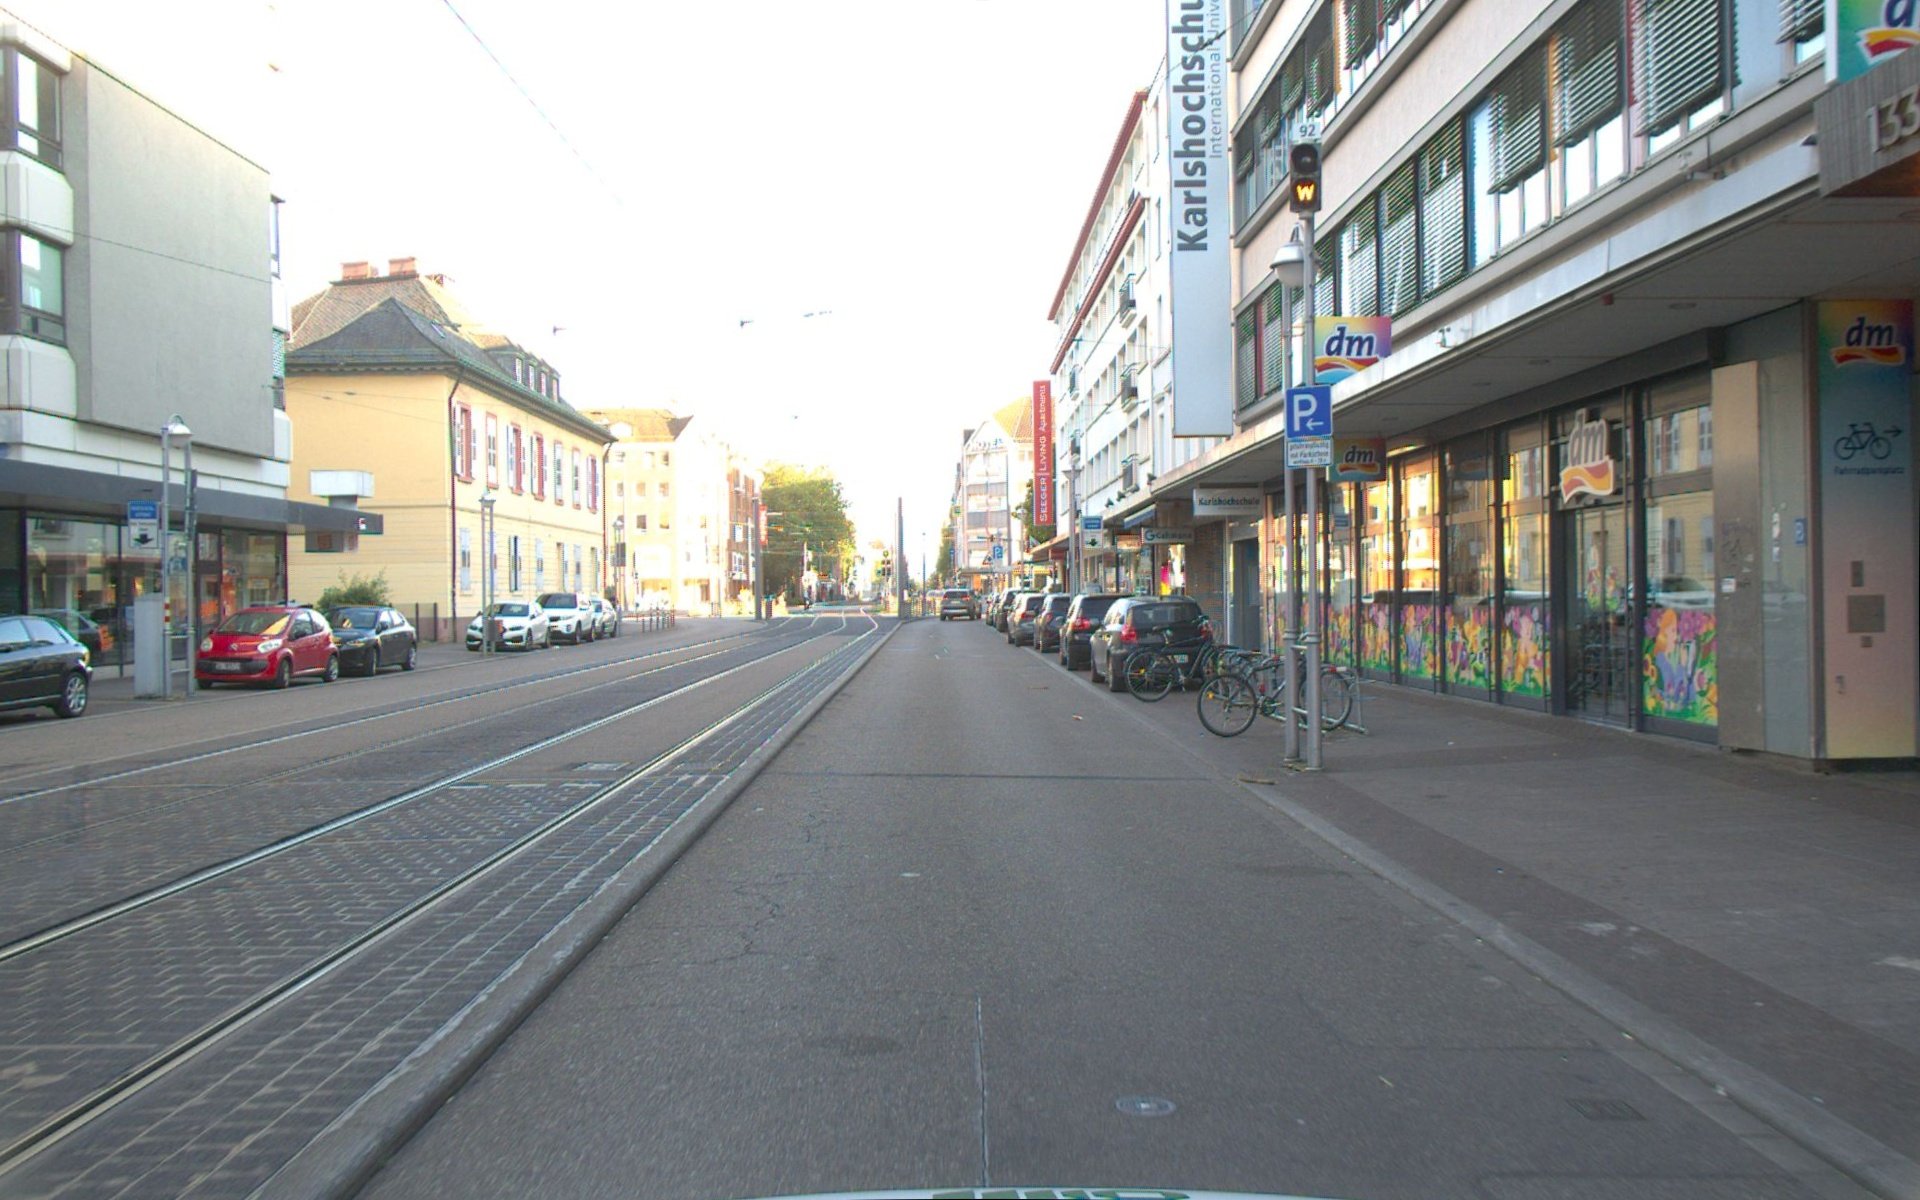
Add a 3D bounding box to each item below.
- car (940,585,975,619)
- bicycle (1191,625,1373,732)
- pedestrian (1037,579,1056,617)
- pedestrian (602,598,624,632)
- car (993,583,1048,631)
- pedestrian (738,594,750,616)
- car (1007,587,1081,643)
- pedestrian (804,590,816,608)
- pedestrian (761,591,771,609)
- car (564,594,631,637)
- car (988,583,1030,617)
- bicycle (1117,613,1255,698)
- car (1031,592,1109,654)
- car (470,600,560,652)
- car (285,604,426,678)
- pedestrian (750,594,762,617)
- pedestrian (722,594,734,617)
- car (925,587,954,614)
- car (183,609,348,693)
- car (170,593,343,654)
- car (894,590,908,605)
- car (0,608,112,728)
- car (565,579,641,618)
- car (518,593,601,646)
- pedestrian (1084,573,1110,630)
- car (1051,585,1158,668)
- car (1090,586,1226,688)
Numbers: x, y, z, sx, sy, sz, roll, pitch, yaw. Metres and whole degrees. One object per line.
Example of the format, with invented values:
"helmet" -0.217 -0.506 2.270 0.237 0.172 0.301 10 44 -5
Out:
"car" -0.114 0.142 89.305 1.797 1.665 4.090 -2 -1 0
"bicycle" 3.379 0.814 17.415 1.759 0.989 0.575 -3 0 -4
"pedestrian" 3.651 -0.091 69.989 0.718 1.601 0.966 -1 0 -2
"pedestrian" -16.335 0.697 77.837 0.783 1.569 0.877 1 0 1
"car" 2.300 0.270 63.716 1.818 1.730 4.416 1 0 -1
"pedestrian" -13.501 0.299 103.323 0.650 1.399 0.651 0 0 -4
"car" 2.420 0.431 48.735 1.755 1.560 4.855 1 0 -2
"pedestrian" -11.362 -0.075 125.168 0.885 1.399 0.853 -1 0 -4
"pedestrian" -22.817 -0.020 194.304 1.071 2.049 1.162 1 0 -4
"car" -13.574 0.561 62.112 1.713 1.500 3.999 1 1 -1
"car" 2.088 0.008 71.817 1.617 1.445 4.190 1 0 -1
"bicycle" 3.157 0.765 23.210 1.803 1.129 0.641 -1 0 -4
"car" 2.832 0.579 43.176 1.691 1.507 3.999 1 0 -1
"car" -13.505 0.752 50.410 1.686 1.478 4.282 1 0 -2
"car" -13.156 0.863 36.223 1.657 1.450 3.964 1 0 -1
"pedestrian" -12.775 0.332 103.577 0.650 1.399 0.651 -1 0 -4
"pedestrian" -14.452 0.342 103.156 0.650 1.399 0.651 -1 0 -4
"car" -1.462 0.062 118.643 1.954 1.623 3.999 -5 -2 -1
"car" -13.101 0.919 31.424 1.657 1.459 3.591 0 0 -1
"car" -19.351 0.638 45.632 3.907 1.580 1.913 1 0 -3
"car" -8.452 -0.354 235.702 1.915 2.049 3.999 1 0 -1
"car" -13.037 0.889 21.633 1.753 1.486 4.091 -1 0 0
"car" -19.496 -0.084 90.290 3.924 2.049 1.990 -1 0 -18
"car" -13.541 0.626 56.109 1.849 1.690 4.758 1 0 -3
"pedestrian" 4.722 0.048 56.971 0.759 1.913 0.934 -1 0 -3
"car" 2.873 0.514 33.644 1.729 1.540 4.071 1 0 -1
"car" 3.106 0.558 26.586 1.621 1.488 4.022 1 0 -1
